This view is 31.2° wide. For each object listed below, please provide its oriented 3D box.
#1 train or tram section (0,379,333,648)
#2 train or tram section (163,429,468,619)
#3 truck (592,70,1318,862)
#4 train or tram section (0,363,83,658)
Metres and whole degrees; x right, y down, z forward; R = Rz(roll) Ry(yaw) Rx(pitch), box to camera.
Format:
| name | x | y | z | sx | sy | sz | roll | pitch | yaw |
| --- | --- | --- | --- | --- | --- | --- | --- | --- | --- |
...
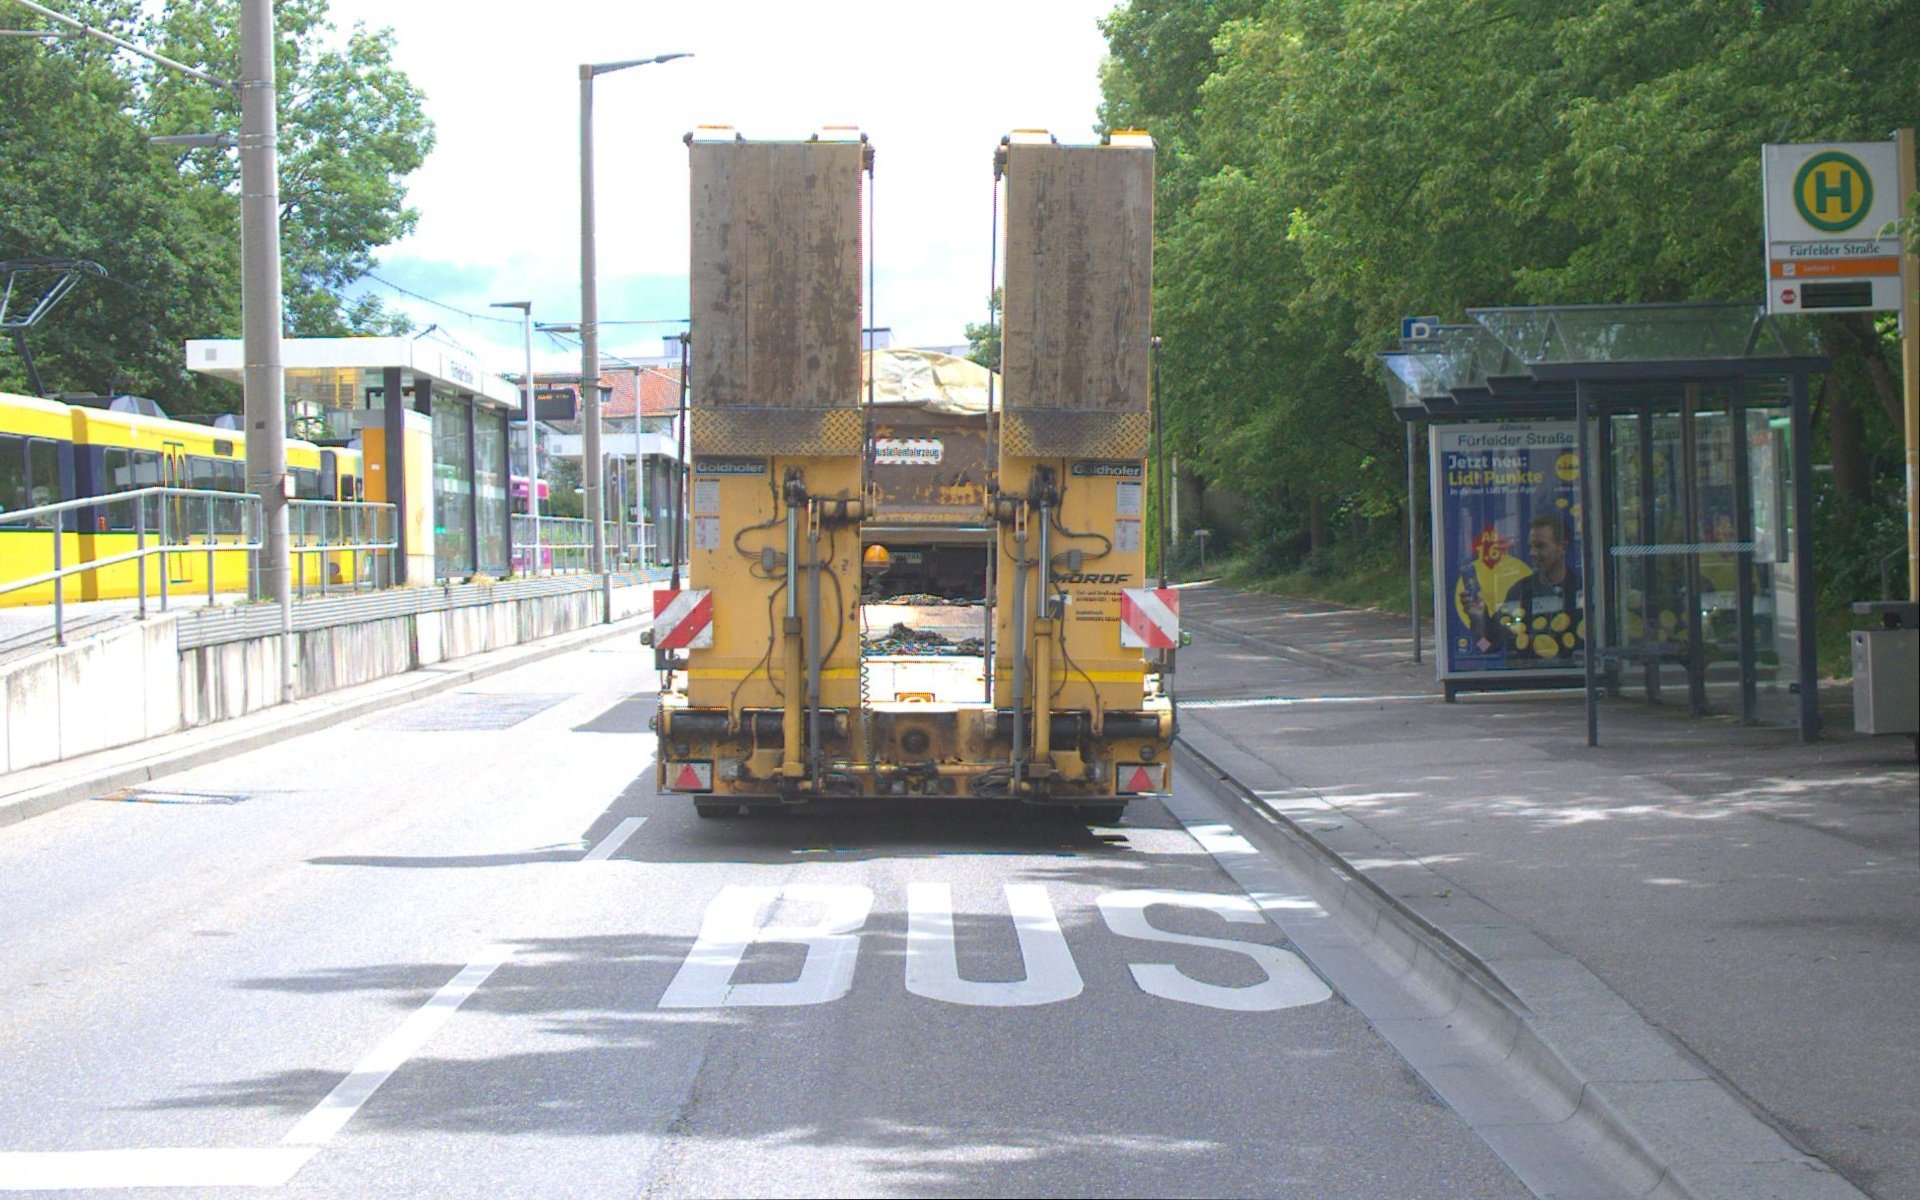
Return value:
| name | x | y | z | sx | sy | sz | roll | pitch | yaw |
| --- | --- | --- | --- | --- | --- | --- | --- | --- | --- |
| train or tram section | -12.973 | -1.258 | 53.774 | 3.108 | 3.453 | 18.998 | 0 | 1 | -1 |
| train or tram section | -13.238 | -1.539 | 72.894 | 3.108 | 3.453 | 19.200 | 0 | 1 | -1 |
| truck | -0.377 | -0.752 | 23.267 | 3.402 | 3.719 | 13.740 | -1 | 1 | -3 |
| train or tram section | -12.734 | -0.980 | 34.866 | 3.108 | 3.453 | 18.827 | 0 | 1 | -1 |
